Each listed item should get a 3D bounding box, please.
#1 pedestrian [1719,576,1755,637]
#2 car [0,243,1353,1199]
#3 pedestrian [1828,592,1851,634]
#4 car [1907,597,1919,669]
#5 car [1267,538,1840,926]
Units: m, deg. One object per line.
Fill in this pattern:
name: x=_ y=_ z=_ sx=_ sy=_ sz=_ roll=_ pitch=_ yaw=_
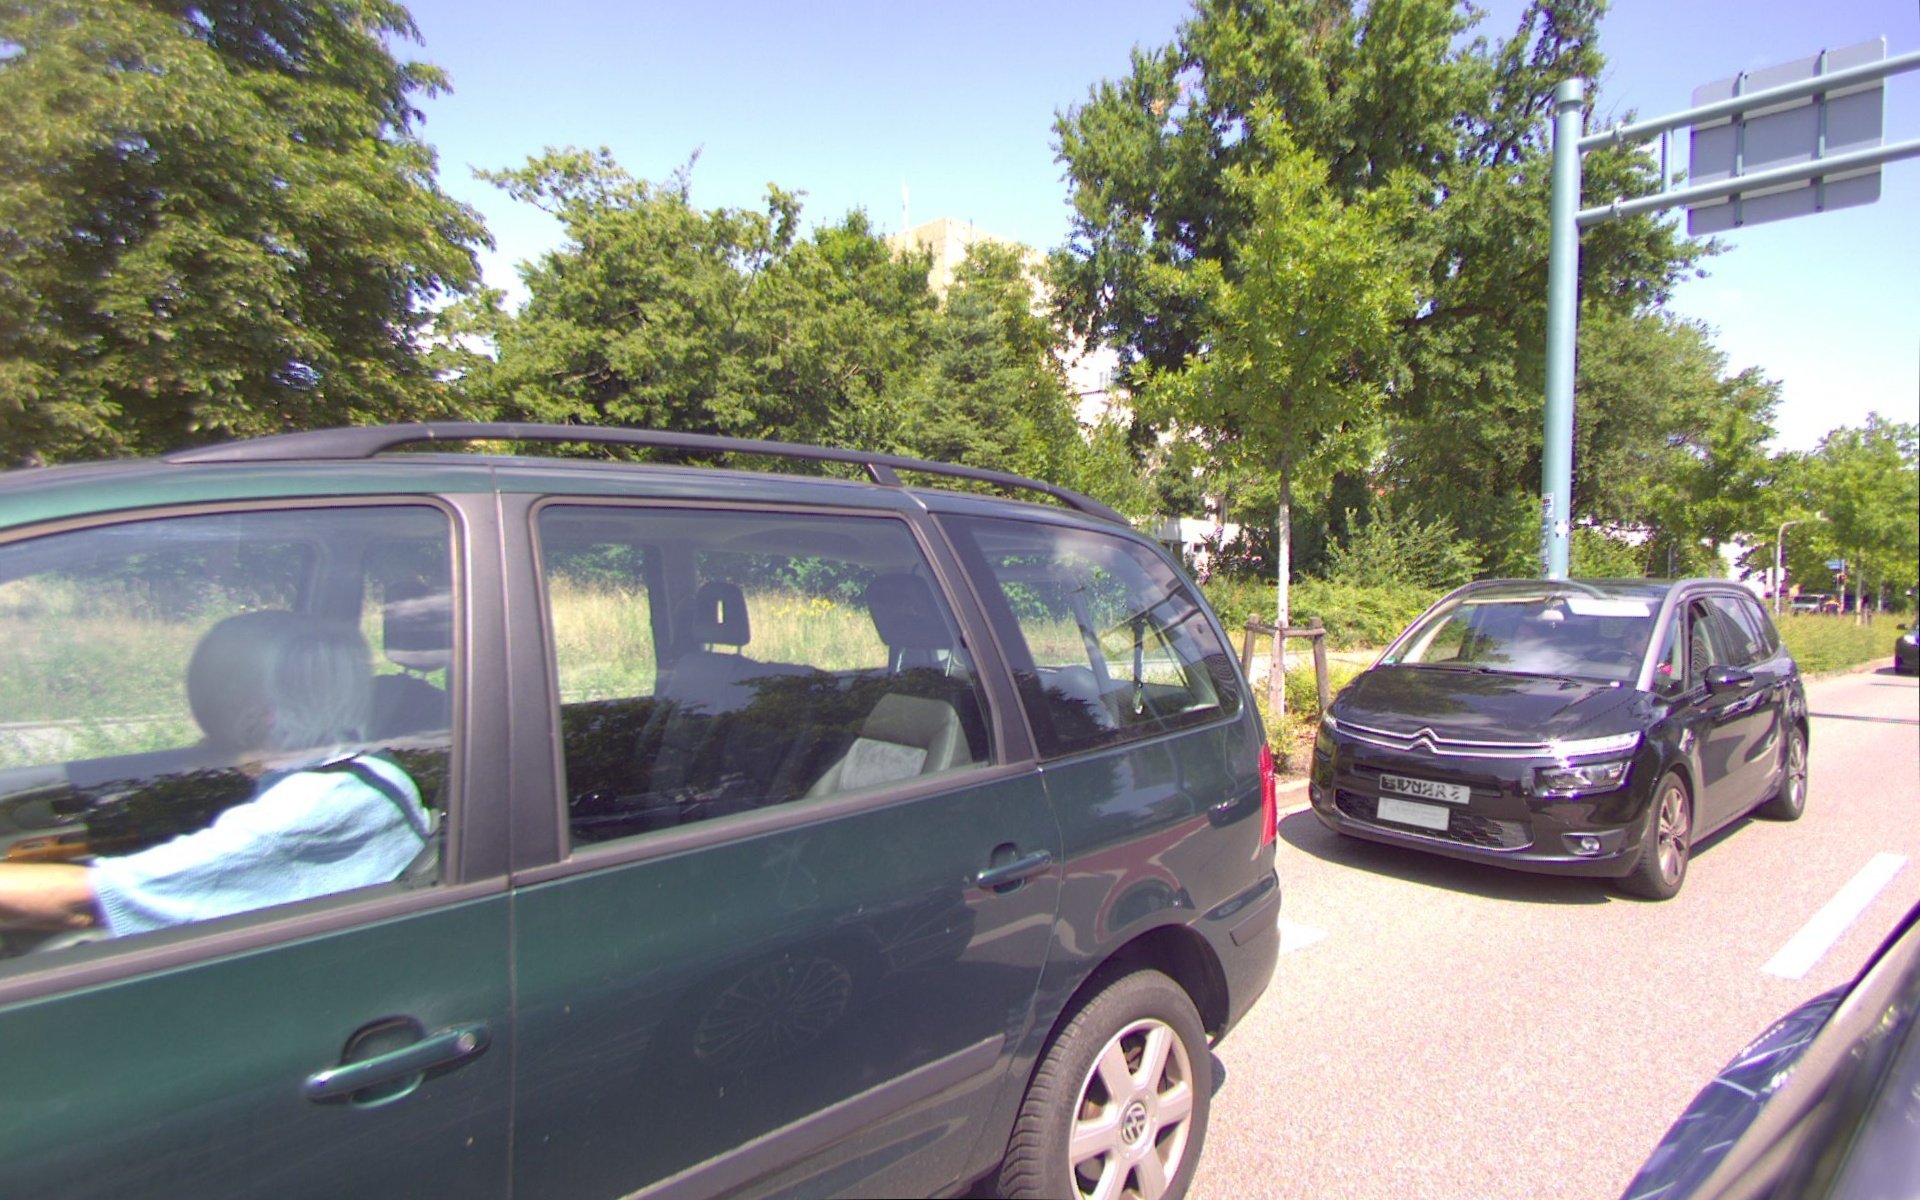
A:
pedestrian: x=26.906 y=0.210 z=35.038 sx=0.843 sy=2.063 sz=0.887 roll=2 pitch=1 yaw=45
car: x=-1.151 y=0.528 z=1.980 sx=4.315 sy=1.737 sz=1.804 roll=0 pitch=-1 yaw=-41
pedestrian: x=38.420 y=0.553 z=44.212 sx=0.636 sy=1.787 sz=0.875 roll=2 pitch=1 yaw=36
car: x=20.757 y=0.642 z=20.539 sx=4.085 sy=1.386 sz=1.805 roll=-1 pitch=2 yaw=-41
car: x=3.962 y=0.569 z=6.396 sx=4.400 sy=1.628 sz=1.815 roll=1 pitch=-1 yaw=-41
